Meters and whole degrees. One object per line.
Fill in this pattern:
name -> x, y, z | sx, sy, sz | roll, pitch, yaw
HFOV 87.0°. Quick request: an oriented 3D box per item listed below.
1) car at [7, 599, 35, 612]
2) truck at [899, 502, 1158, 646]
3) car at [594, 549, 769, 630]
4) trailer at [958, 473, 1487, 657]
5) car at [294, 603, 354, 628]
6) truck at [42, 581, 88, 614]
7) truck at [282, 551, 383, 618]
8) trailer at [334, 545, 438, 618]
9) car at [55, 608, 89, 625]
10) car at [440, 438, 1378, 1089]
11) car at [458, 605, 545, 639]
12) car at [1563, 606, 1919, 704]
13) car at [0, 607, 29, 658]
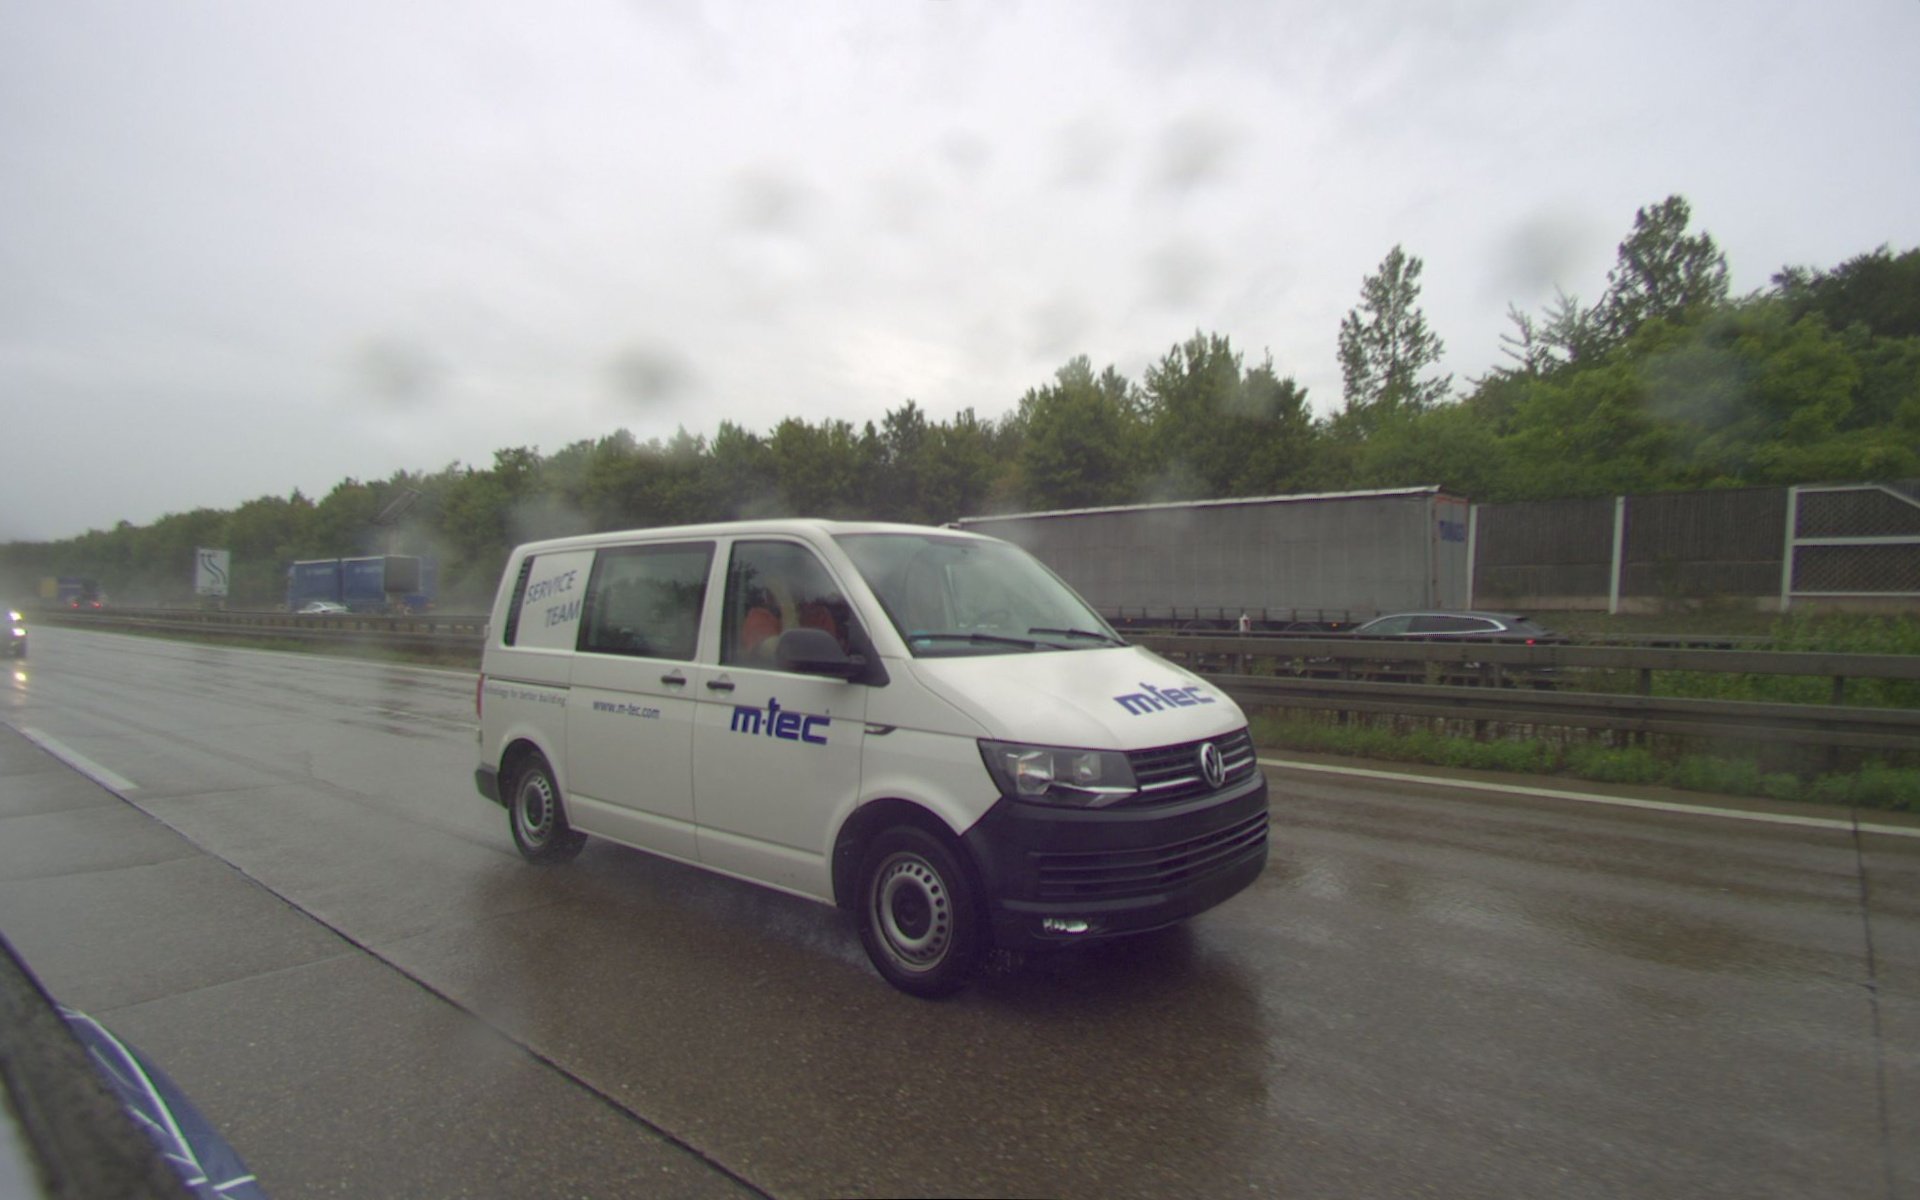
car -> -103.477, 0.630, 111.483 | 4.422, 1.349, 1.734 | -1, 1, 41
truck -> 1.865, -0.696, 30.402 | 7.678, 3.830, 2.746 | -1, 1, 42
car -> -9.898, -0.326, 35.444 | 7.443, 2.586, 2.160 | -1, 1, 42
trailer -> 5.988, -0.716, 26.700 | 13.774, 3.830, 2.738 | -1, 1, 42
car -> -37.499, 0.909, 59.612 | 4.422, 1.349, 1.734 | -1, 1, 41
truck -> -103.893, -0.232, 117.427 | 9.791, 3.728, 2.559 | -1, 1, 40
truck -> -42.425, -0.982, 68.263 | 10.172, 4.185, 2.819 | -1, 1, 41
trailer -> -35.327, -1.045, 62.089 | 8.520, 4.185, 2.819 | -1, 1, 41
car -> -85.901, 1.550, 97.863 | 5.267, 1.543, 1.734 | -1, 1, 41
car -> -0.696, 0.501, 5.335 | 5.039, 1.908, 1.880 | -1, -1, 40
car -> -19.957, 0.916, 43.956 | 4.422, 1.349, 1.734 | -1, 1, 41
car -> 12.234, 0.781, 16.068 | 4.341, 1.313, 1.734 | -1, 1, 41
car -> -28.842, 0.902, 29.591 | 4.517, 1.445, 1.908 | 0, -2, 42
